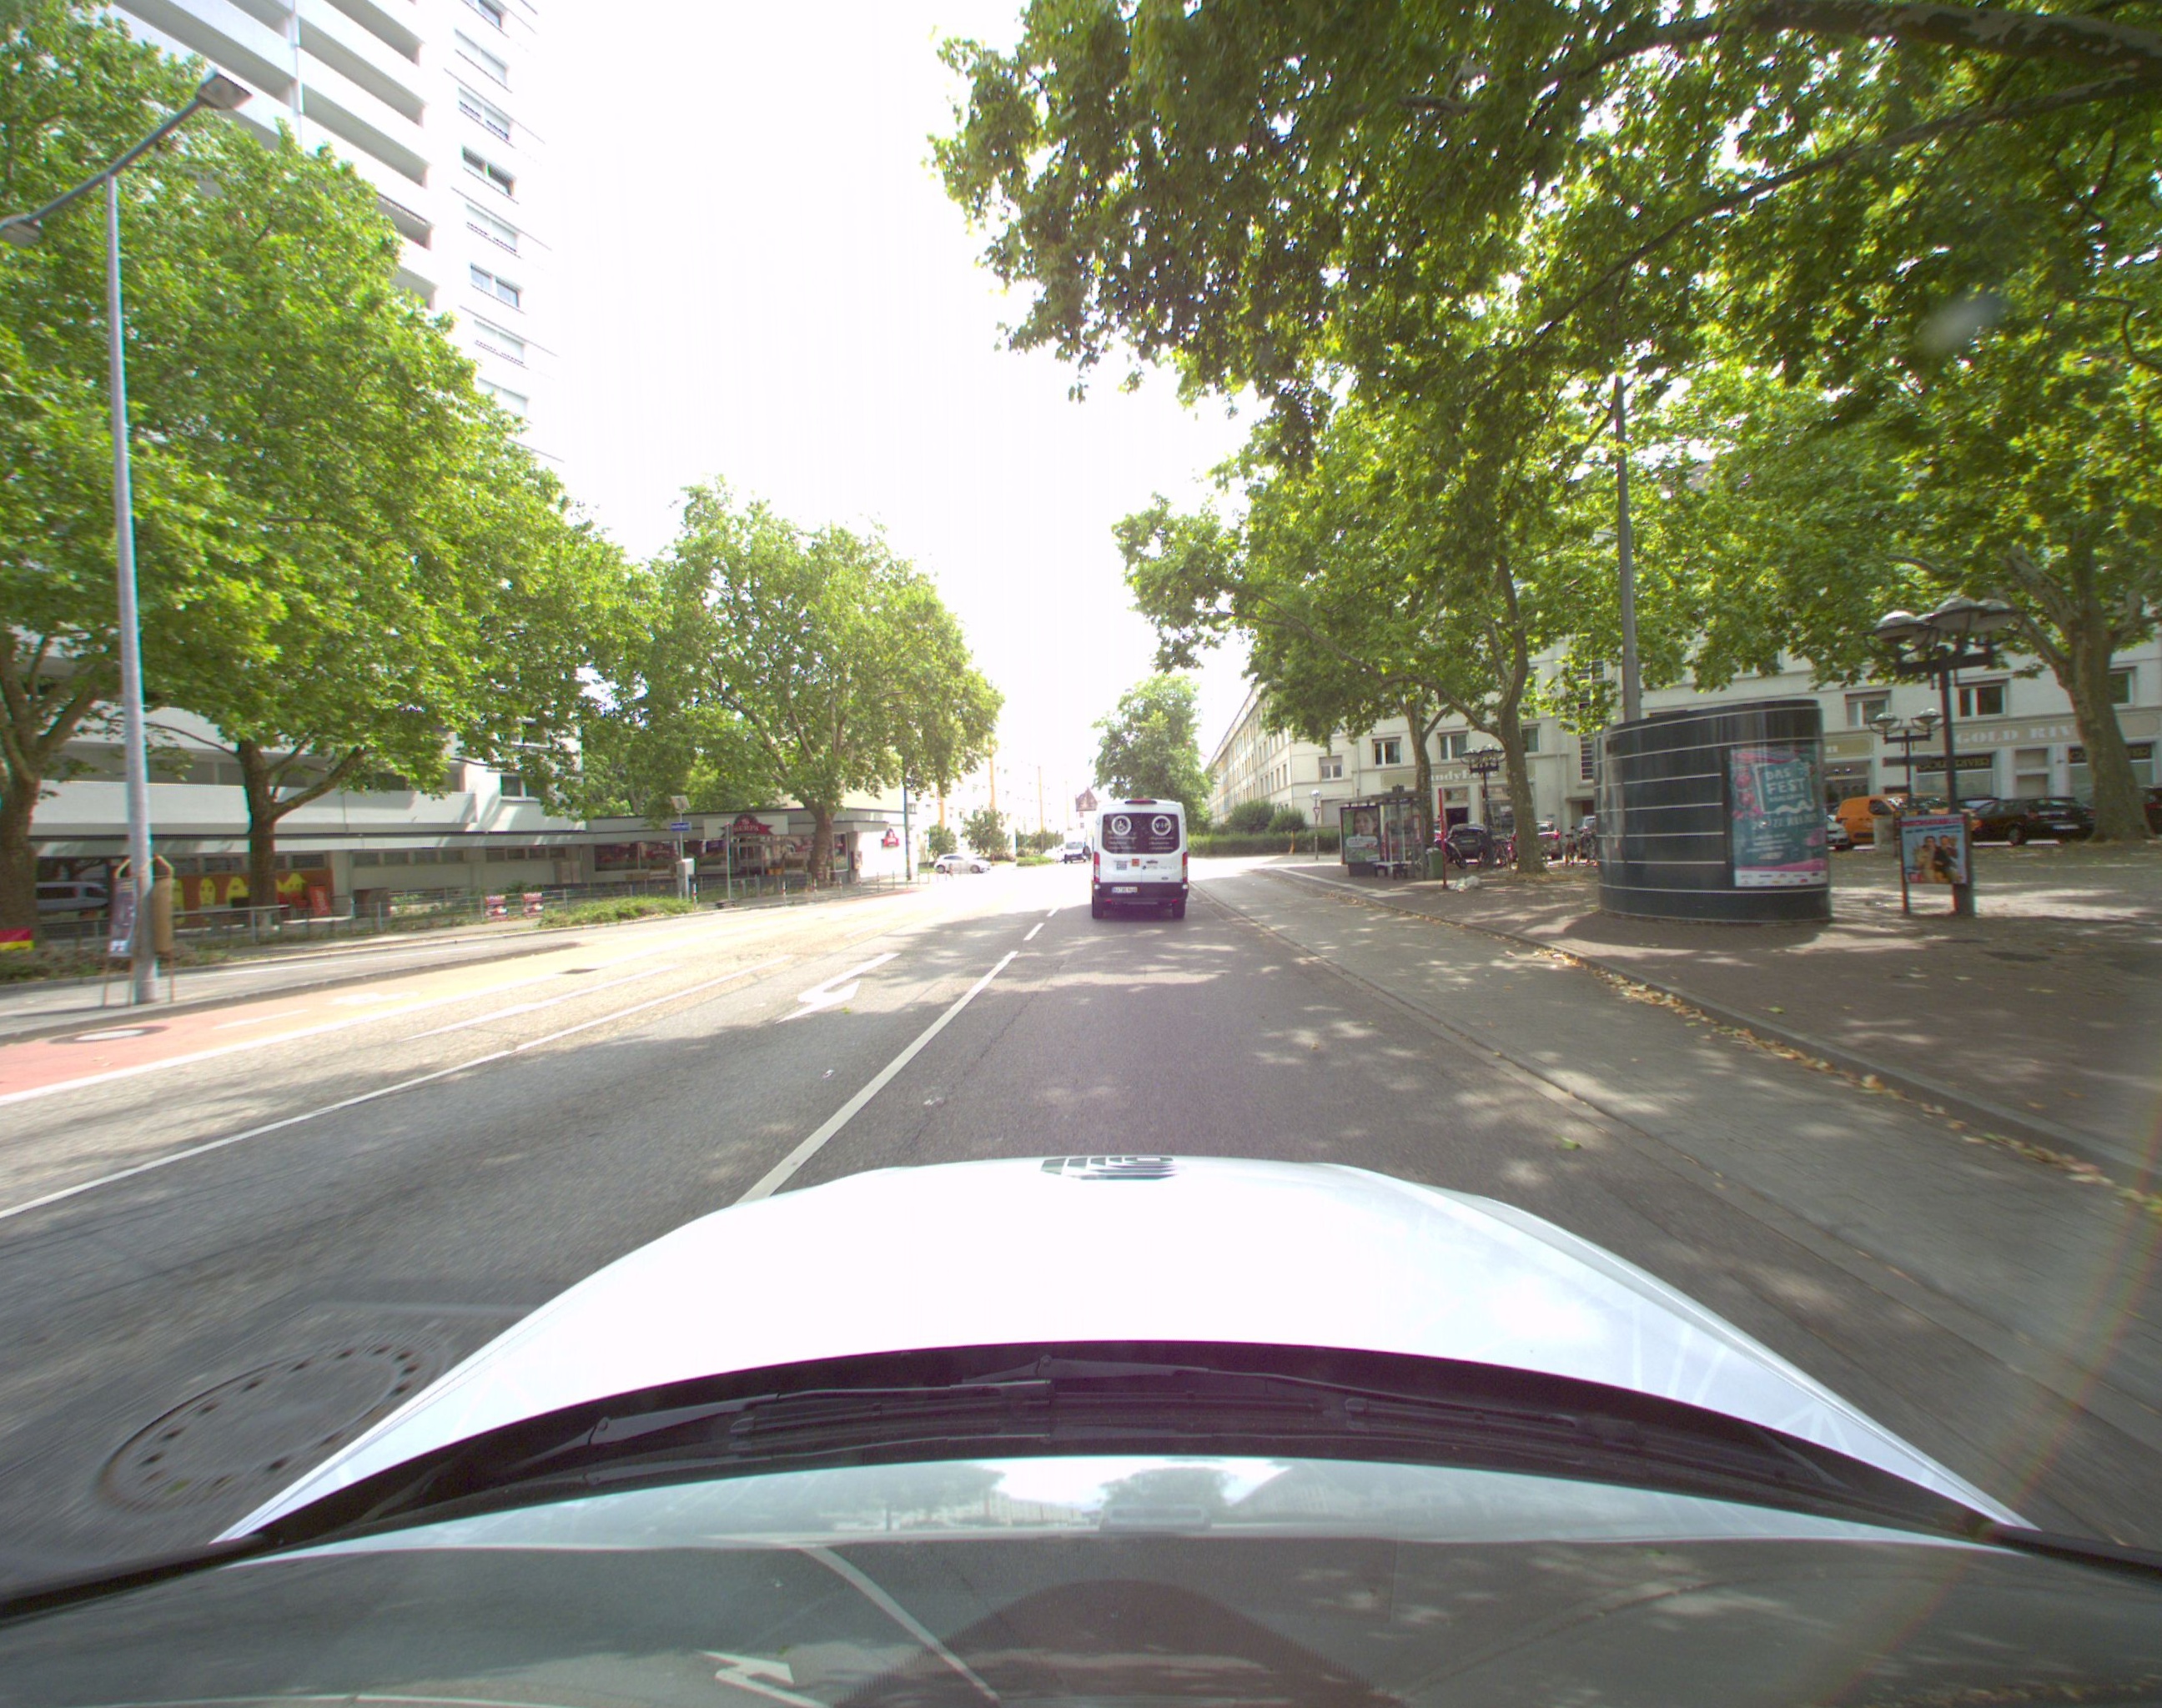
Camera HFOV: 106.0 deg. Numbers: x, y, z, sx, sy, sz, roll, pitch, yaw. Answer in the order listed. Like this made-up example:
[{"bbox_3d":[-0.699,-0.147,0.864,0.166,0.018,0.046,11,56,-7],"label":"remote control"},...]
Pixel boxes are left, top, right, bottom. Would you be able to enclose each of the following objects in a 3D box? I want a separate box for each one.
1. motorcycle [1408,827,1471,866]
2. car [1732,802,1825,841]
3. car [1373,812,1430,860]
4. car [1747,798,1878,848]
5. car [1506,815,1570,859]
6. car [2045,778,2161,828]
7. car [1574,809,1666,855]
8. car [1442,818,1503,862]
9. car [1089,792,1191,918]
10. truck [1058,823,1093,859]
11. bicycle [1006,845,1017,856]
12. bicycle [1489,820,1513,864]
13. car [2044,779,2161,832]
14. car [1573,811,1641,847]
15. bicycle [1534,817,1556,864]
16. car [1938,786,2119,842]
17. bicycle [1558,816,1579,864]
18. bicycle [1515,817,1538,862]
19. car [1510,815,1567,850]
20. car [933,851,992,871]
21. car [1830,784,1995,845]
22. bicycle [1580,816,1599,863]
[{"bbox_3d":[11.994,-0.263,27.283,1.849,1.222,0.531,-3,2,-2],"label":"motorcycle"},{"bbox_3d":[31.557,-1.473,36.991,1.976,1.590,4.219,-2,1,23],"label":"car"},{"bbox_3d":[12.823,-0.739,32.611,1.916,1.705,4.354,-3,1,21],"label":"car"},{"bbox_3d":[24.416,-1.025,27.386,1.976,1.464,4.022,-3,1,22],"label":"car"},{"bbox_3d":[16.863,-0.663,30.230,1.729,1.464,4.210,-3,1,25],"label":"car"},{"bbox_3d":[39.627,-1.944,31.124,1.976,1.727,4.023,-2,1,23],"label":"car"},{"bbox_3d":[19.343,-0.818,29.412,1.976,1.464,4.022,-3,1,22],"label":"car"},{"bbox_3d":[15.251,-0.583,31.886,1.811,1.552,4.022,-3,1,22],"label":"car"},{"bbox_3d":[1.364,-0.024,18.731,2.061,2.540,4.641,0,1,4],"label":"car"},{"bbox_3d":[-0.461,-1.303,79.460,2.529,3.107,7.031,-5,1,5],"label":"truck"},{"bbox_3d":[-7.945,-0.406,93.311,0.574,1.251,1.942,-2,2,17],"label":"bicycle"},{"bbox_3d":[13.822,-0.420,26.780,0.415,1.378,2.326,-2,1,33],"label":"bicycle"},{"bbox_3d":[31.151,-1.447,23.955,1.976,1.464,4.022,-3,1,22],"label":"car"},{"bbox_3d":[24.030,-1.178,37.379,1.975,1.487,4.219,-2,1,24],"label":"car"},{"bbox_3d":[14.779,-0.462,25.934,0.415,1.377,2.327,-2,2,33],"label":"bicycle"},{"bbox_3d":[28.957,-1.209,25.100,1.976,1.464,4.022,-3,1,22],"label":"car"},{"bbox_3d":[15.376,-0.469,25.661,0.415,1.378,2.327,-2,2,33],"label":"bicycle"},{"bbox_3d":[14.454,-0.491,26.393,0.415,1.378,2.326,-2,1,33],"label":"bicycle"},{"bbox_3d":[22.140,-1.077,39.543,1.975,1.504,4.219,-2,1,24],"label":"car"},{"bbox_3d":[-9.005,0.534,62.038,4.149,1.450,1.853,0,1,7],"label":"car"},{"bbox_3d":[26.394,-1.235,26.088,1.976,1.694,4.585,-3,1,22],"label":"car"},{"bbox_3d":[15.833,-0.481,25.330,0.415,1.378,2.326,-2,1,33],"label":"bicycle"}]
